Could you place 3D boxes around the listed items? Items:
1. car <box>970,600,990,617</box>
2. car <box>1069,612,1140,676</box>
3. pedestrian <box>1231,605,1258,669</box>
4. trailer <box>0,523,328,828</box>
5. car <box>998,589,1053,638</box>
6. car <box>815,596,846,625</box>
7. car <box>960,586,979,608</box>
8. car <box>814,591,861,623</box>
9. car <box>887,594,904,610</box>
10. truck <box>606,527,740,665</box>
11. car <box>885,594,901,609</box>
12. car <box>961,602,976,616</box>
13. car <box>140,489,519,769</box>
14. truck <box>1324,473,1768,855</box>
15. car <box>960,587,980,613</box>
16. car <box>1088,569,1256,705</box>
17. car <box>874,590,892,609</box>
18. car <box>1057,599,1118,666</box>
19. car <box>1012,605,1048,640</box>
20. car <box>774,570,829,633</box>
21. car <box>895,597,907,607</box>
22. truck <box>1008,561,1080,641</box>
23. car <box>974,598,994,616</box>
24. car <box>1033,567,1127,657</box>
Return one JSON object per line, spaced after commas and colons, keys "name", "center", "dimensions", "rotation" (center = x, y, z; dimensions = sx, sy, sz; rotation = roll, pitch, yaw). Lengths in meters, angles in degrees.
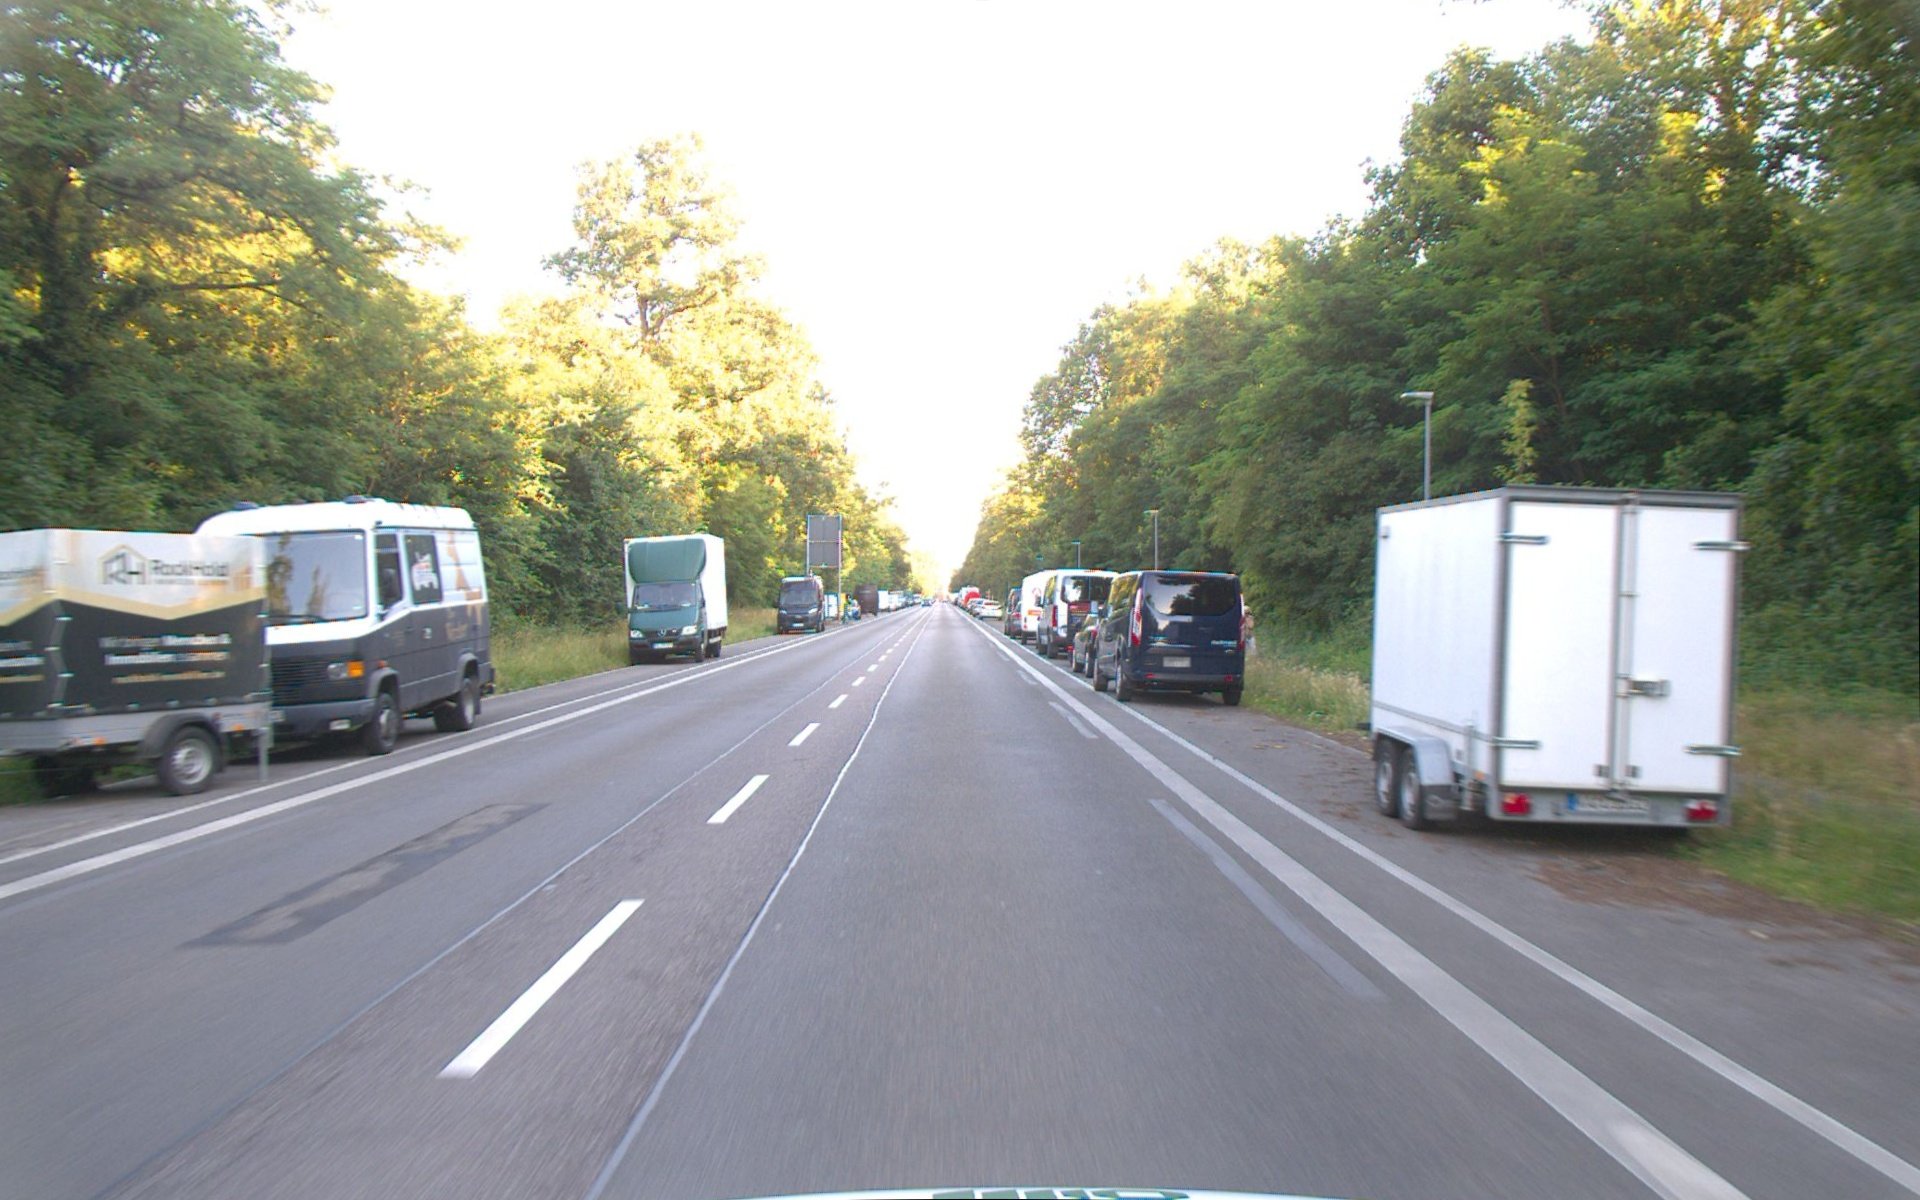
{"name": "car", "center": [1.492, 0.624, 124.062], "dimensions": [1.398, 1.243, 3.411], "rotation": [-2, 0, -1]}
{"name": "car", "center": [3.042, 0.898, 35.091], "dimensions": [1.124, 1.274, 2.752], "rotation": [1, 0, -3]}
{"name": "pedestrian", "center": [6.422, 0.835, 37.376], "dimensions": [0.456, 1.442, 0.717], "rotation": [-1, -1, -1]}
{"name": "trailer", "center": [-7.333, 0.543, 13.517], "dimensions": [1.922, 2.193, 3.930], "rotation": [-1, 0, 20]}
{"name": "car", "center": [2.739, 0.561, 70.164], "dimensions": [1.954, 1.989, 4.297], "rotation": [1, 0, -3]}
{"name": "car", "center": [-7.842, 0.618, 100.539], "dimensions": [1.736, 1.701, 3.998], "rotation": [2, 0, -3]}
{"name": "car", "center": [1.362, -0.391, 249.548], "dimensions": [2.686, 3.174, 5.738], "rotation": [0, -1, -1]}
{"name": "car", "center": [-8.032, 0.463, 108.951], "dimensions": [1.664, 2.049, 4.002], "rotation": [2, 0, 18]}
{"name": "car", "center": [-8.179, 0.229, 208.994], "dimensions": [1.953, 2.049, 4.000], "rotation": [-1, 0, 0]}
{"name": "truck", "center": [-7.612, -0.101, 44.618], "dimensions": [2.453, 3.387, 6.840], "rotation": [-1, 0, -1]}
{"name": "car", "center": [-9.053, 0.195, 224.958], "dimensions": [1.953, 2.049, 4.000], "rotation": [-1, 0, 0]}
{"name": "car", "center": [0.910, 1.060, 187.974], "dimensions": [1.612, 1.512, 3.594], "rotation": [1, 0, -1]}
{"name": "car", "center": [-6.936, 0.268, 19.053], "dimensions": [2.203, 2.694, 5.720], "rotation": [-1, 0, -1]}
{"name": "truck", "center": [4.094, 0.405, 12.368], "dimensions": [1.846, 2.323, 4.300], "rotation": [1, 0, 1]}
{"name": "car", "center": [1.230, -0.013, 206.006], "dimensions": [2.267, 3.147, 5.638], "rotation": [1, 0, -1]}
{"name": "car", "center": [3.331, 0.559, 26.854], "dimensions": [1.954, 1.989, 4.297], "rotation": [1, 0, -3]}
{"name": "car", "center": [-8.688, -0.057, 186.820], "dimensions": [1.954, 2.049, 3.997], "rotation": [0, -1, -3]}
{"name": "car", "center": [3.100, 0.766, 40.502], "dimensions": [1.124, 1.573, 2.752], "rotation": [1, 0, -3]}
{"name": "car", "center": [2.699, 0.851, 64.177], "dimensions": [1.124, 1.273, 2.752], "rotation": [-1, 0, -3]}
{"name": "car", "center": [-7.534, 0.055, 79.265], "dimensions": [2.142, 2.837, 5.333], "rotation": [-1, 0, -1]}
{"name": "car", "center": [-9.320, 0.325, 260.054], "dimensions": [1.611, 1.512, 3.595], "rotation": [-1, 0, 1]}
{"name": "truck", "center": [2.968, 0.050, 59.204], "dimensions": [2.099, 2.706, 4.297], "rotation": [1, 0, -3]}
{"name": "car", "center": [2.048, 0.584, 141.813], "dimensions": [1.612, 1.512, 3.999], "rotation": [1, 0, -1]}
{"name": "car", "center": [3.287, 0.334, 46.119], "dimensions": [2.099, 2.354, 4.297], "rotation": [1, 0, -3]}
